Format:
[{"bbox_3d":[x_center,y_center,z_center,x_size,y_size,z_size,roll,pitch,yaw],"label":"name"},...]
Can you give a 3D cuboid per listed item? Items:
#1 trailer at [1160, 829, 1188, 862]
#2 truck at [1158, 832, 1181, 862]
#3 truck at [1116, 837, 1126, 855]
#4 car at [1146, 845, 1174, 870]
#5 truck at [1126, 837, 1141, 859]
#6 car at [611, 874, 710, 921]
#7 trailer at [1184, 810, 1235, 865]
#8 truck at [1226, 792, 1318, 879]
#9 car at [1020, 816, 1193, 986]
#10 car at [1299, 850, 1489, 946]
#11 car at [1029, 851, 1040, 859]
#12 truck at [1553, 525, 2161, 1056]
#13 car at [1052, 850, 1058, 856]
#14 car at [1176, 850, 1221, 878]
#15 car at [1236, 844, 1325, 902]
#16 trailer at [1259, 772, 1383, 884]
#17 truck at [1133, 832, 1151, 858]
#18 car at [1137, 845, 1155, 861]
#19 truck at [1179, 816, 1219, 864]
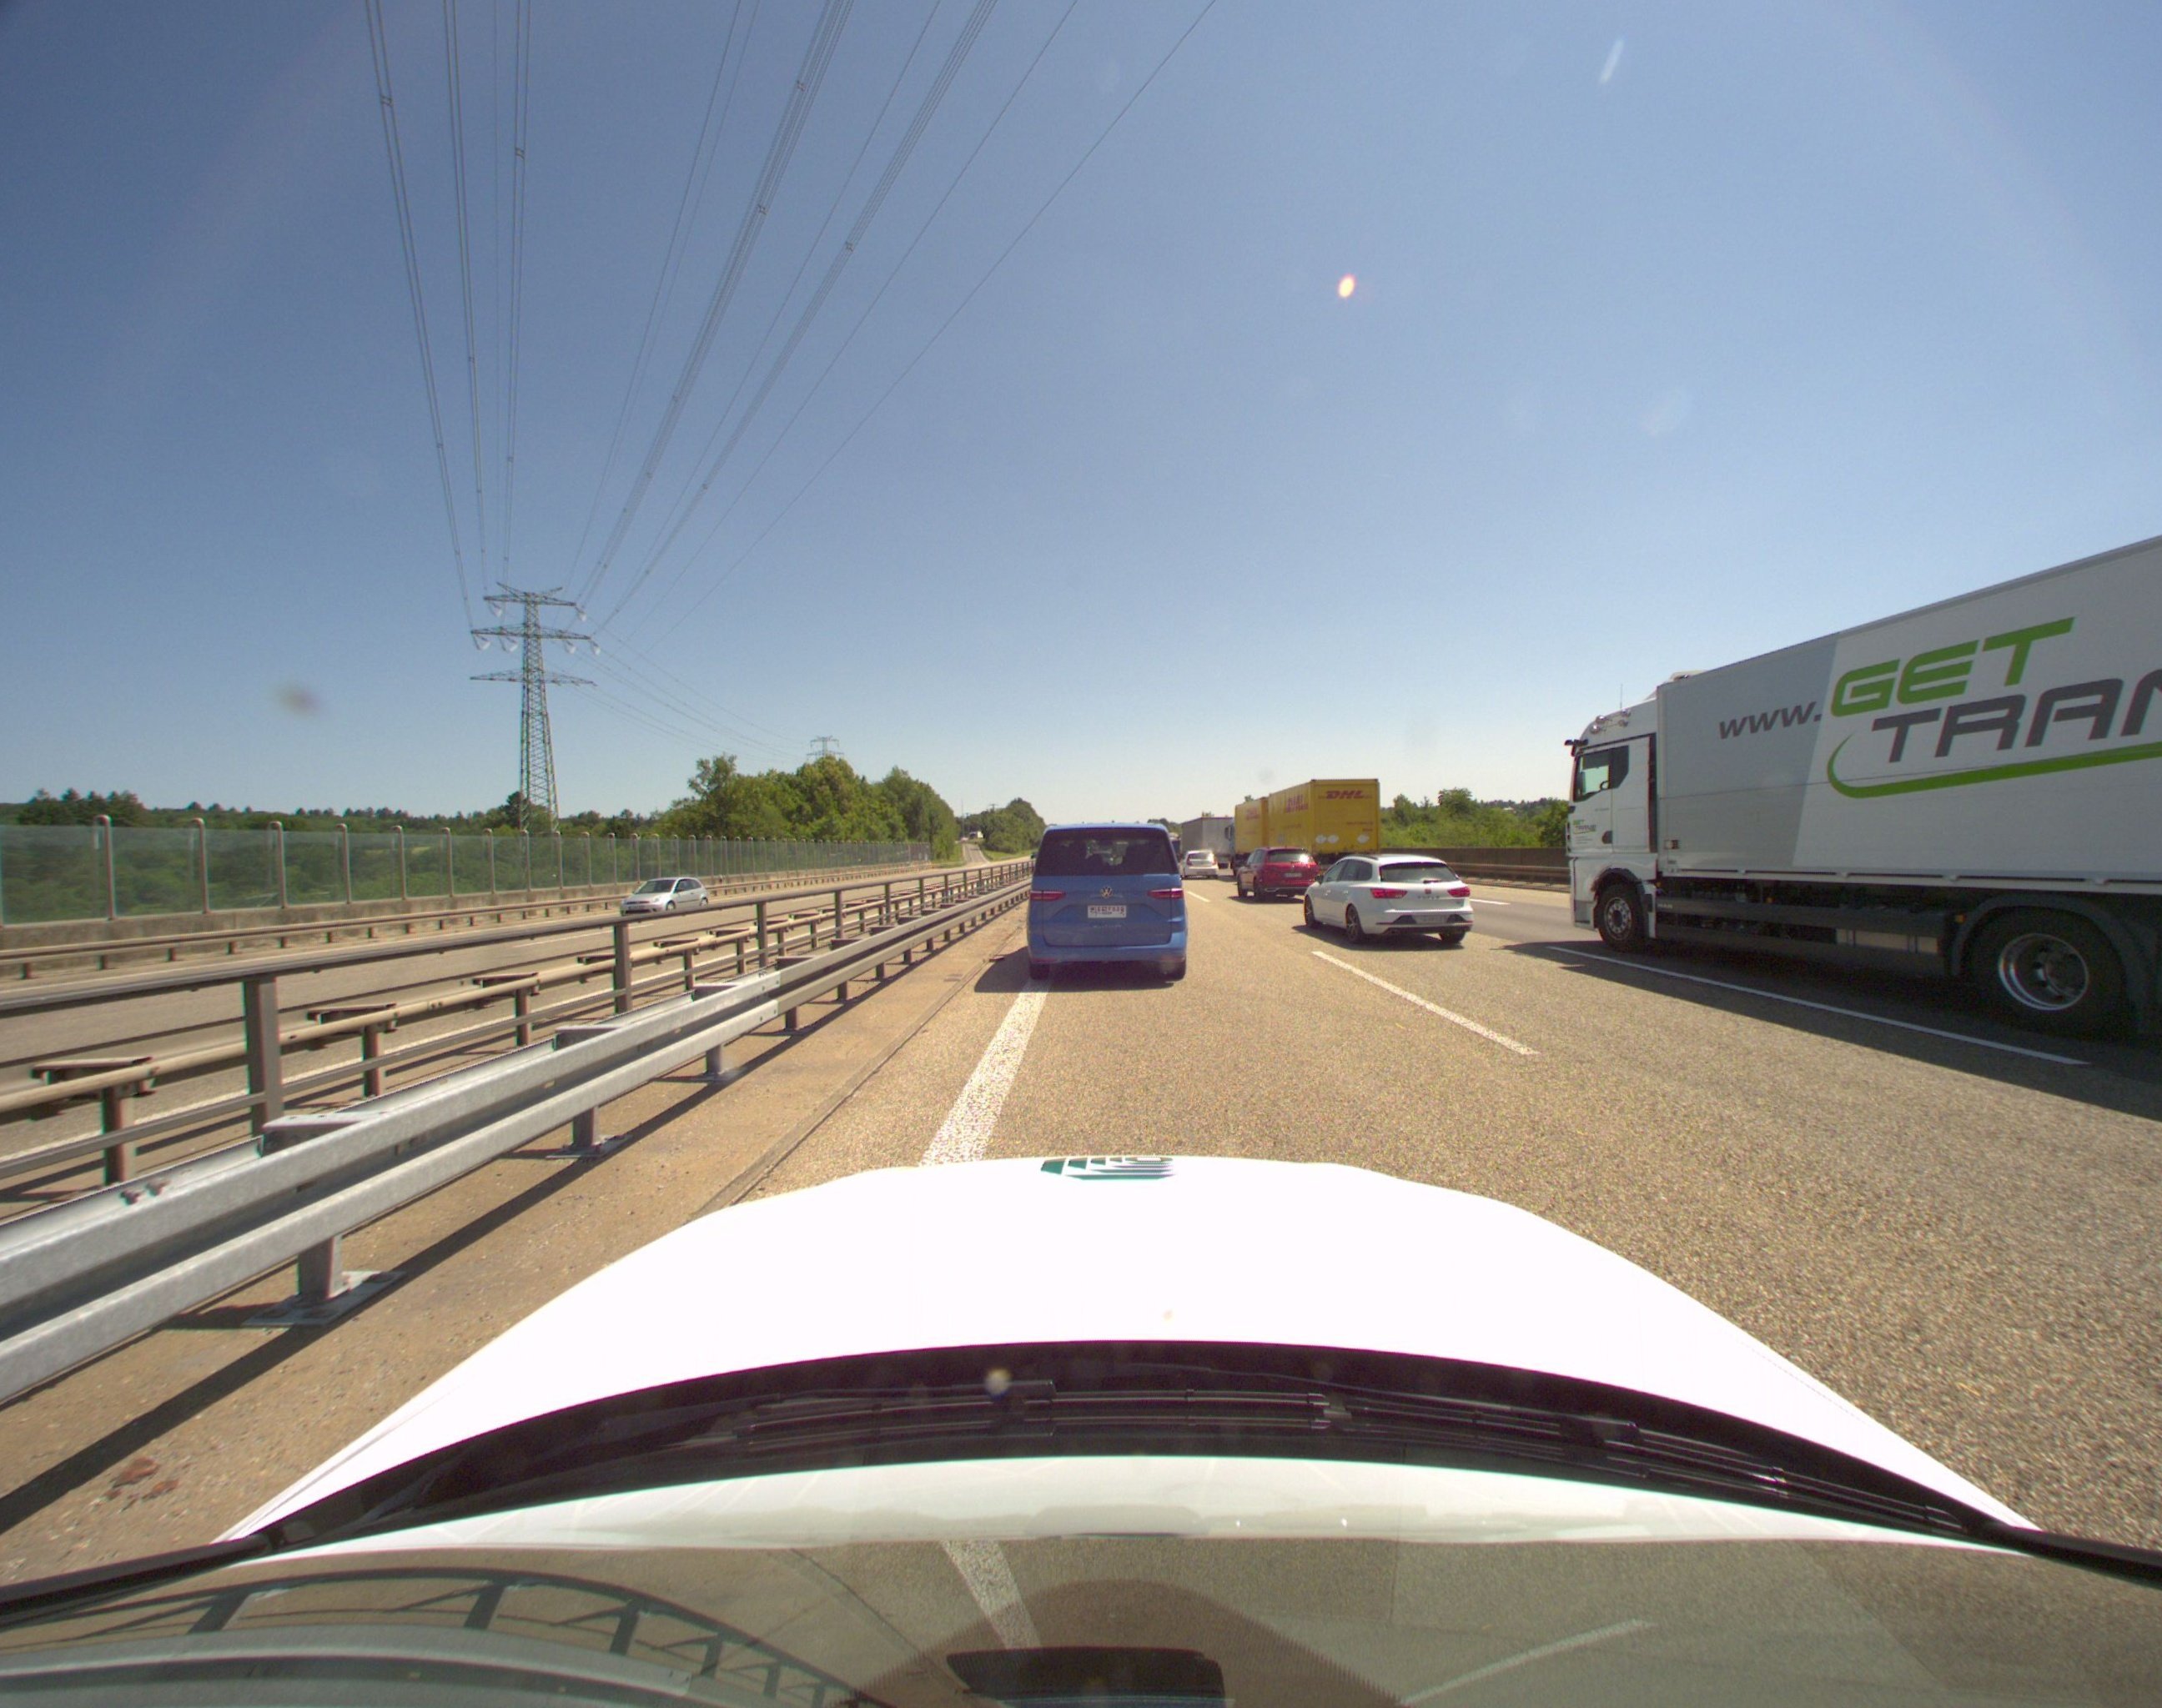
[{"bbox_3d":[11.090,-0.892,97.867,2.371,3.744,11.190,0,0,1],"label":"trailer"},{"bbox_3d":[11.237,-0.857,103.734,2.359,3.722,6.034,0,-1,1],"label":"truck"},{"bbox_3d":[12.808,-2.564,261.274,2.824,5.373,12.553,0,-1,0],"label":"truck"},{"bbox_3d":[5.950,0.258,61.518,1.709,1.586,3.823,-4,2,2],"label":"car"},{"bbox_3d":[12.402,-1.235,192.837,2.824,5.040,11.815,0,-1,0],"label":"truck"},{"bbox_3d":[-15.402,1.561,30.040,1.598,1.394,3.678,-4,0,2],"label":"car"},{"bbox_3d":[10.377,-1.222,66.909,2.745,4.146,11.315,0,0,2],"label":"trailer"},{"bbox_3d":[9.899,-0.834,43.520,2.712,4.054,10.338,0,-1,1],"label":"truck"},{"bbox_3d":[0.343,0.518,10.944,1.875,1.837,4.002,-1,0,2],"label":"car"},{"bbox_3d":[5.156,0.650,14.059,1.774,1.387,4.189,-1,0,2],"label":"car"},{"bbox_3d":[-9.827,0.203,172.888,1.774,1.569,4.388,-3,0,1],"label":"car"},{"bbox_3d":[8.807,-0.422,7.588,2.840,3.603,10.772,0,0,2],"label":"truck"},{"bbox_3d":[-8.088,-0.259,255.013,1.748,1.547,4.001,-3,-1,2],"label":"car"},{"bbox_3d":[6.165,0.499,43.134,1.832,1.414,4.000,-1,0,0],"label":"car"},{"bbox_3d":[5.978,0.531,24.877,1.844,1.608,4.002,-1,0,2],"label":"car"},{"bbox_3d":[9.648,-0.901,33.879,2.691,4.023,8.933,0,-1,1],"label":"trailer"},{"bbox_3d":[12.374,-1.833,164.871,2.824,5.040,11.144,0,-1,0],"label":"truck"},{"bbox_3d":[6.832,-0.138,85.934,1.709,1.540,3.822,-3,0,2],"label":"car"},{"bbox_3d":[10.564,-1.158,73.683,2.758,4.095,6.985,0,-1,1],"label":"truck"}]
